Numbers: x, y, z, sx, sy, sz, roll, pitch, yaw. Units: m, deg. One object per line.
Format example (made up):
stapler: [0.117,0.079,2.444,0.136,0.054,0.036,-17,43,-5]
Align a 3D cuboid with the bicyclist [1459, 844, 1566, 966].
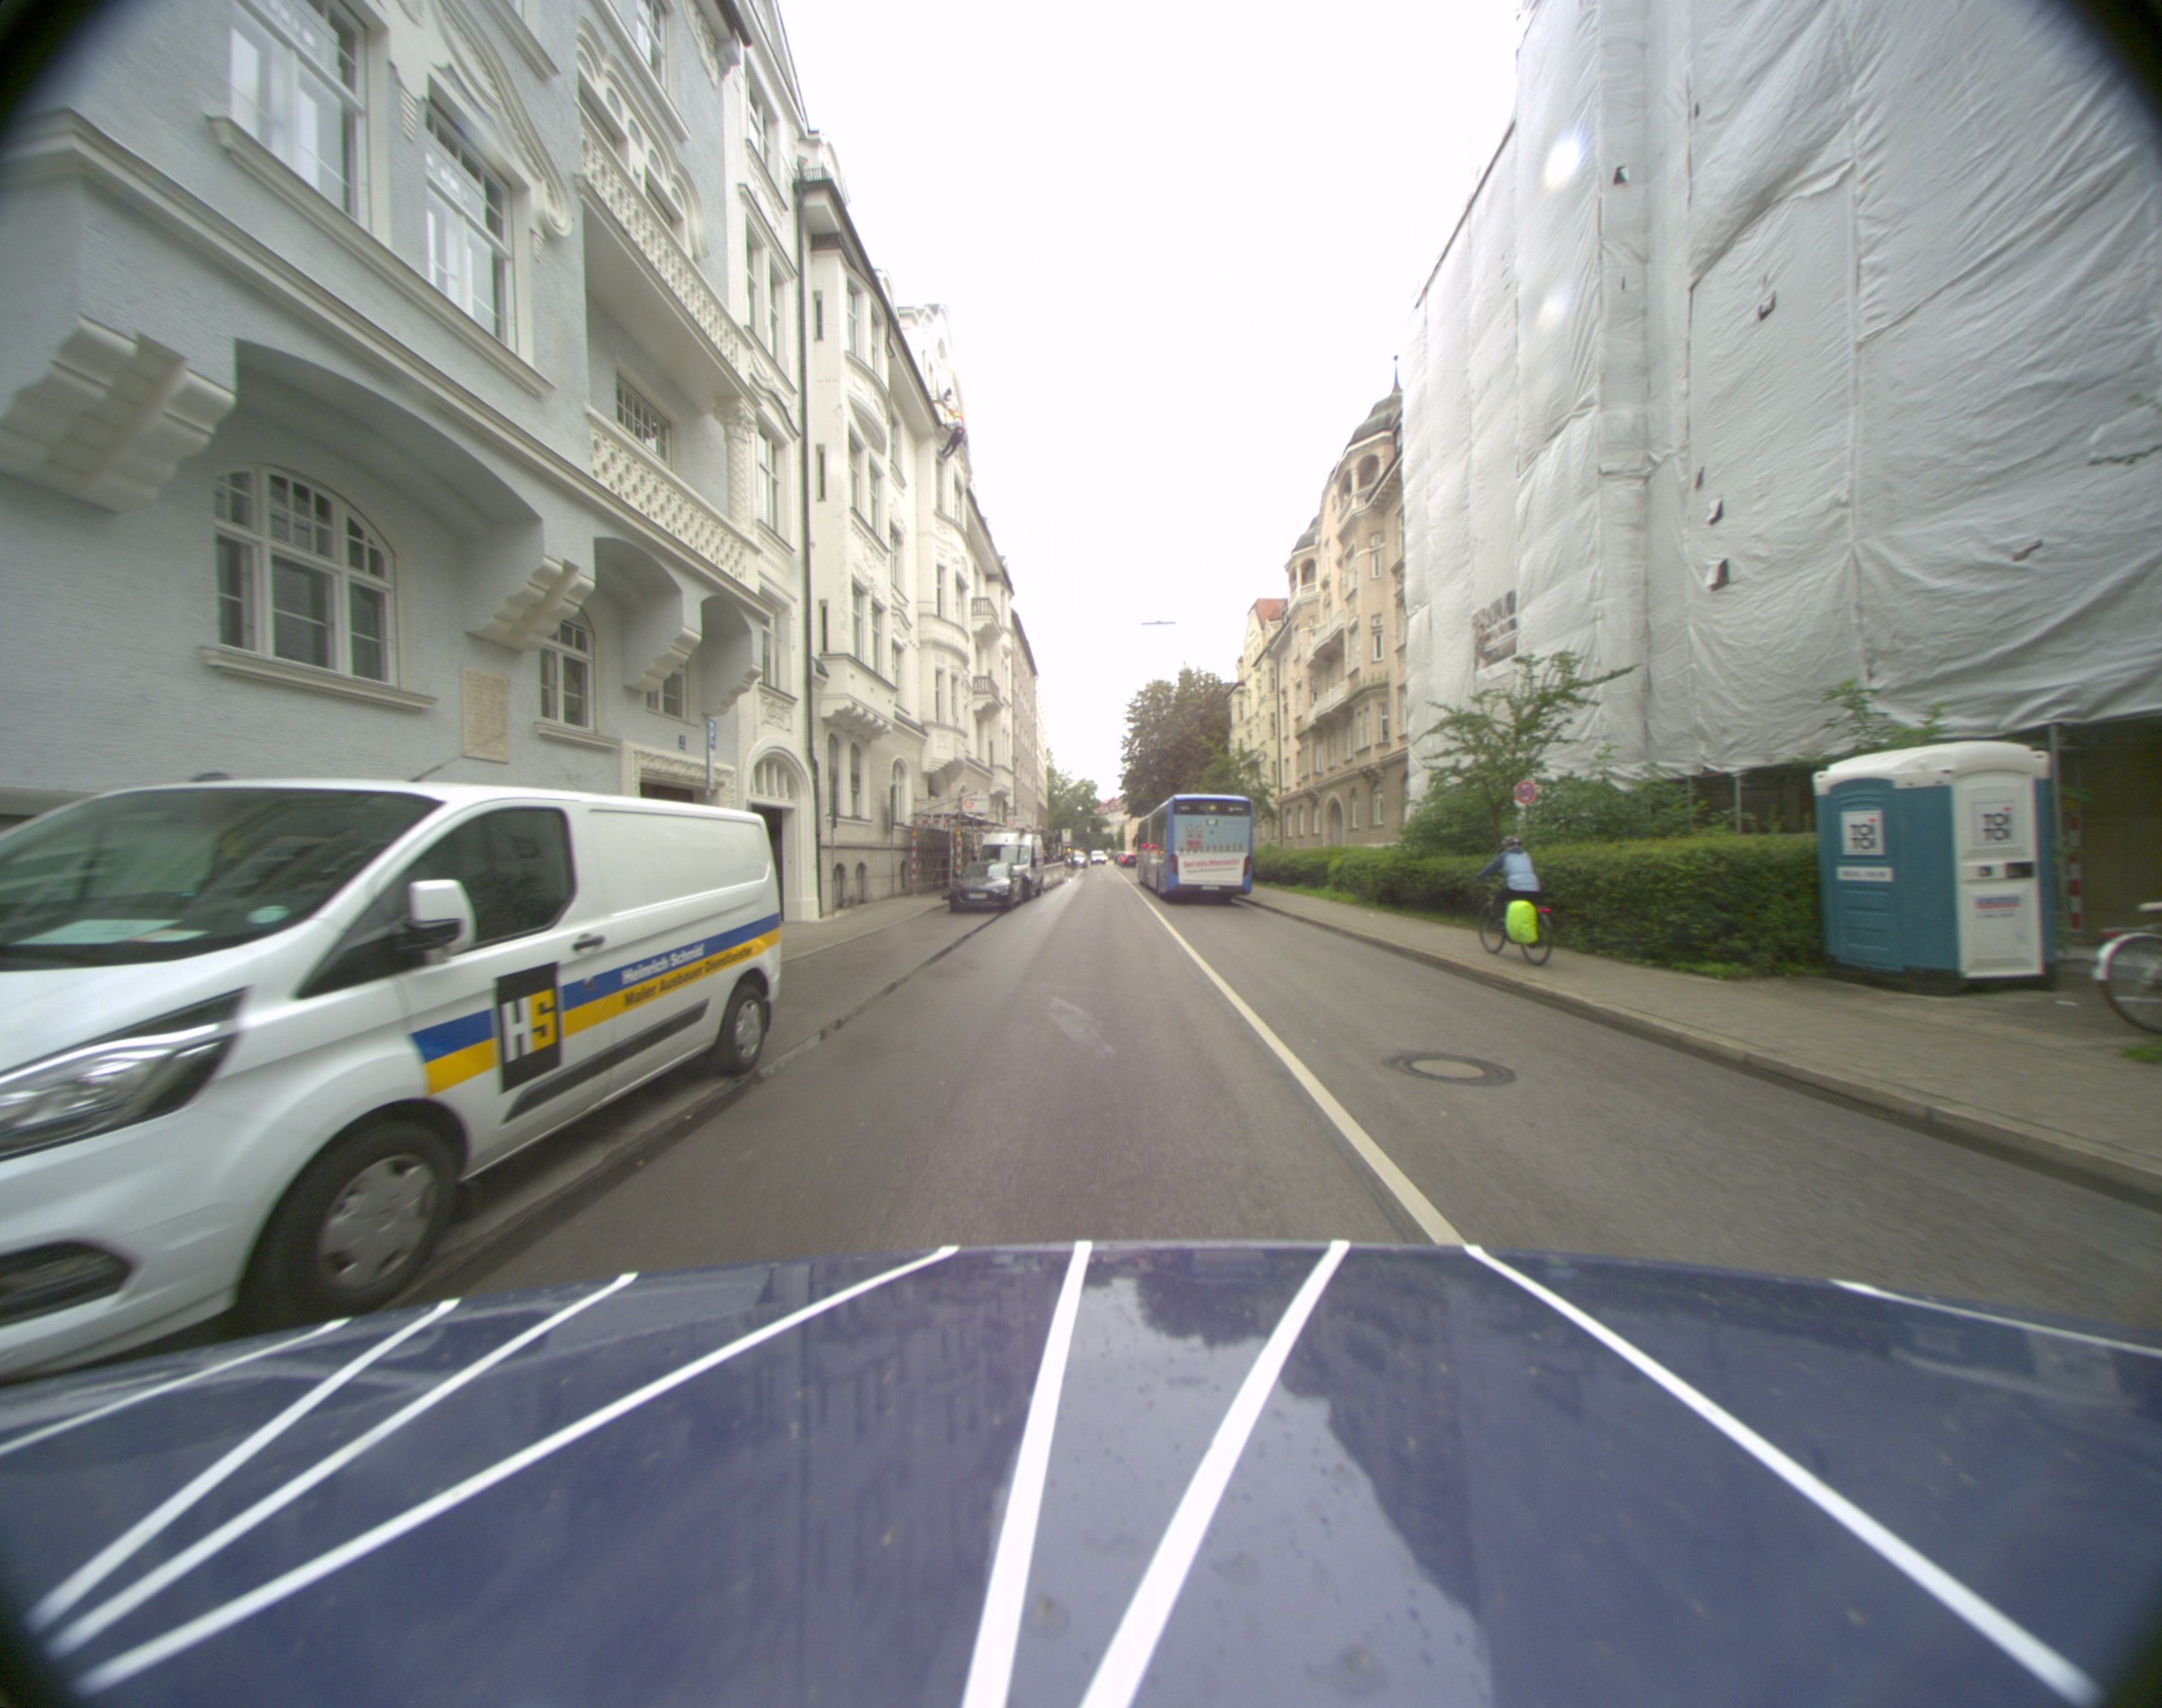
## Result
bicyclist: [5.654,0.633,10.022,0.770,1.484,1.060,-3,1,0]

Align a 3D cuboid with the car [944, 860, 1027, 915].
car: [-2.753,0.941,22.921,1.792,1.399,4.244,-1,0,2]

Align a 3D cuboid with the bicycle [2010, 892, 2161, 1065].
bicycle: [8.259,0.848,5.576,1.864,1.071,0.690,-5,0,4]

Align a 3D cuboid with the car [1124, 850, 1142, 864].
car: [5.492,0.303,79.566,1.723,1.398,4.001,-1,0,6]

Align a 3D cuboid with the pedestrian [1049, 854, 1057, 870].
pedestrian: [-2.826,0.769,76.997,0.837,1.580,0.806,-1,1,-2]

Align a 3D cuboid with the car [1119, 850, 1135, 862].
car: [5.656,0.232,92.614,1.723,1.398,4.001,-1,0,6]

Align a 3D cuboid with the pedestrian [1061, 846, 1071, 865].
pedestrian: [-1.467,0.169,74.258,0.826,1.850,0.820,-1,1,1]

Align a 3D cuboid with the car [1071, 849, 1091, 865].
car: [0.039,0.303,81.735,1.723,1.622,4.001,-1,1,6]

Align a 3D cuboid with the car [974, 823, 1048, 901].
car: [-2.531,0.250,28.968,2.081,2.673,5.445,0,1,3]

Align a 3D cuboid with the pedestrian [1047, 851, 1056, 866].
pedestrian: [-2.917,0.435,74.153,0.837,1.399,0.866,-1,1,-2]

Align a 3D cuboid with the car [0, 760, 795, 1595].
car: [-3.435,0.737,3.859,1.998,1.907,4.878,-1,1,1]

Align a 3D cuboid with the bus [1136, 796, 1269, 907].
bus: [4.171,-0.155,31.073,3.179,3.193,18.058,0,1,2]

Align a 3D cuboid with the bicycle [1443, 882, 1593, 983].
bicycle: [5.680,0.975,10.051,0.770,1.075,2.050,-3,0,0]

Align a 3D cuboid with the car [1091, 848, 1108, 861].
car: [2.486,0.065,99.471,1.918,1.648,4.603,-1,0,5]

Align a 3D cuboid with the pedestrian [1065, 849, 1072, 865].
pedestrian: [-1.353,0.302,82.010,0.745,1.706,0.616,-1,1,2]

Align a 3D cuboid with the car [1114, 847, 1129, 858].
car: [5.205,-0.205,97.876,1.723,1.398,4.001,-1,0,6]

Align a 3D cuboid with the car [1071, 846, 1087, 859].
car: [-0.291,-0.207,102.777,1.723,1.622,4.001,-1,1,6]
